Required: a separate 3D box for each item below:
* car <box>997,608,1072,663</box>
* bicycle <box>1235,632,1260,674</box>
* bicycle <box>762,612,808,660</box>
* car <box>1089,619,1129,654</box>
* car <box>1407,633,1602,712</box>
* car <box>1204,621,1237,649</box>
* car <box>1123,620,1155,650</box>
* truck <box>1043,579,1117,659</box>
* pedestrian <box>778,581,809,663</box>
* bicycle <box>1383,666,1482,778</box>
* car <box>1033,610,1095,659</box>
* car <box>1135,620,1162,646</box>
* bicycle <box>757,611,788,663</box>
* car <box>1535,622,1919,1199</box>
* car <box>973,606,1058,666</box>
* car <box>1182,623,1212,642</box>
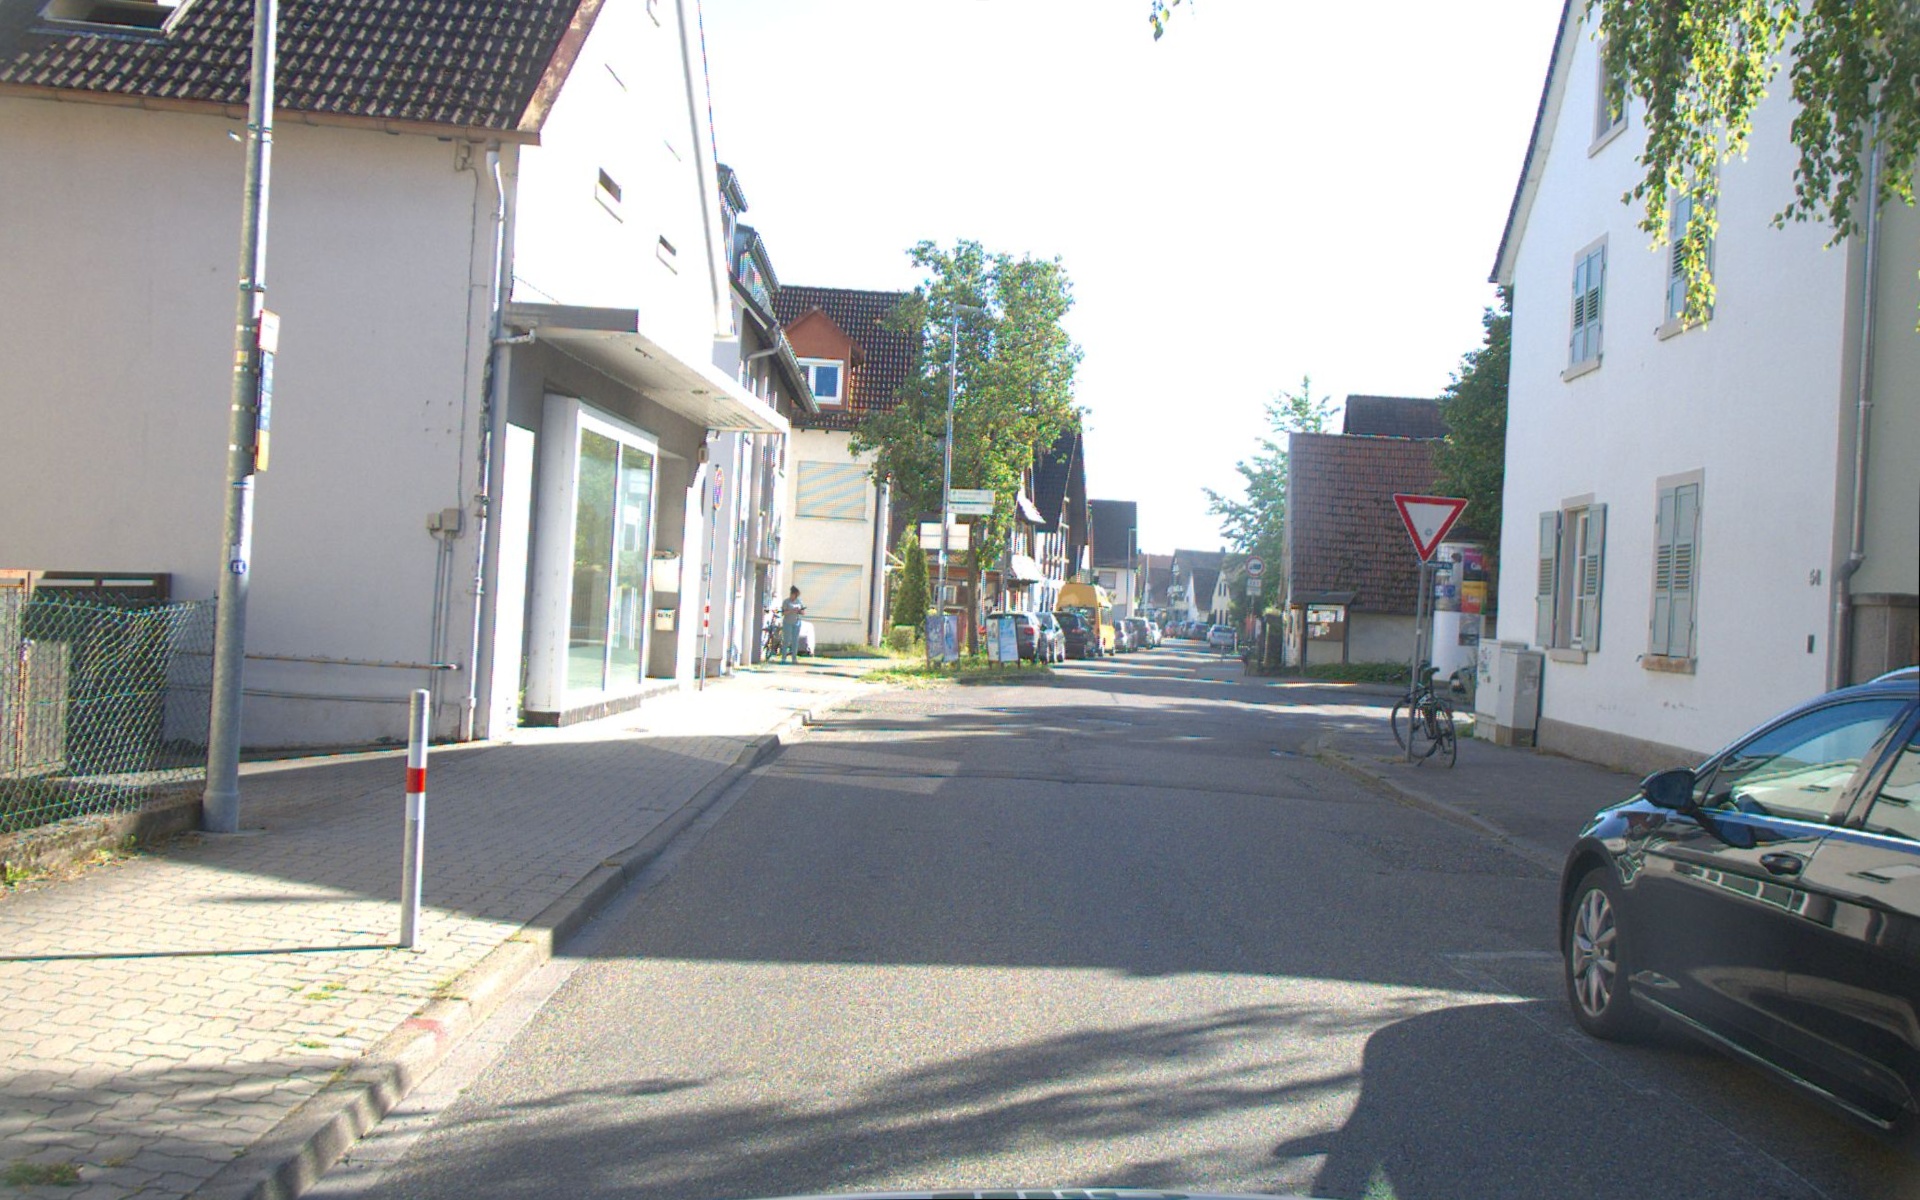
[{"bbox_3d":[2.360,1.117,51.757,1.768,1.532,4.110,3,-1,10],"label":"car"},{"bbox_3d":[8.408,1.535,48.345,0.424,1.197,1.829,3,-1,17],"label":"bicycle"},{"bbox_3d":[-4.111,0.853,38.976,0.566,1.071,2.037,3,-2,8],"label":"bicycle"},{"bbox_3d":[6.783,1.631,74.901,1.611,1.457,3.617,4,-1,7],"label":"car"},{"bbox_3d":[12.584,1.669,38.384,3.906,1.503,1.665,4,-1,0],"label":"car"},{"bbox_3d":[17.541,2.332,111.487,1.931,1.743,3.997,4,-1,7],"label":"car"},{"bbox_3d":[9.539,1.844,87.932,1.554,1.468,3.617,4,-1,7],"label":"car"},{"bbox_3d":[4.849,0.794,65.974,2.220,2.918,5.787,3,-1,10],"label":"truck"},{"bbox_3d":[-3.594,0.474,35.717,0.473,1.722,0.557,3,-2,5],"label":"pedestrian"},{"bbox_3d":[5.248,1.334,18.468,0.426,1.098,1.889,2,0,-3],"label":"bicycle"},{"bbox_3d":[3.855,1.268,60.572,1.768,1.650,3.883,3,-1,10],"label":"car"},{"bbox_3d":[11.376,1.993,99.718,1.554,1.468,3.617,4,-1,7],"label":"car"},{"bbox_3d":[-4.031,0.802,35.558,0.414,1.071,1.381,3,-2,2],"label":"bicycle"},{"bbox_3d":[3.268,0.884,4.733,1.770,1.461,4.286,3,0,1],"label":"car"},{"bbox_3d":[1.634,1.039,47.422,1.828,1.532,4.110,3,-1,10],"label":"car"},{"bbox_3d":[22.062,3.046,154.024,1.935,1.610,3.991,4,-1,-4],"label":"car"}]
